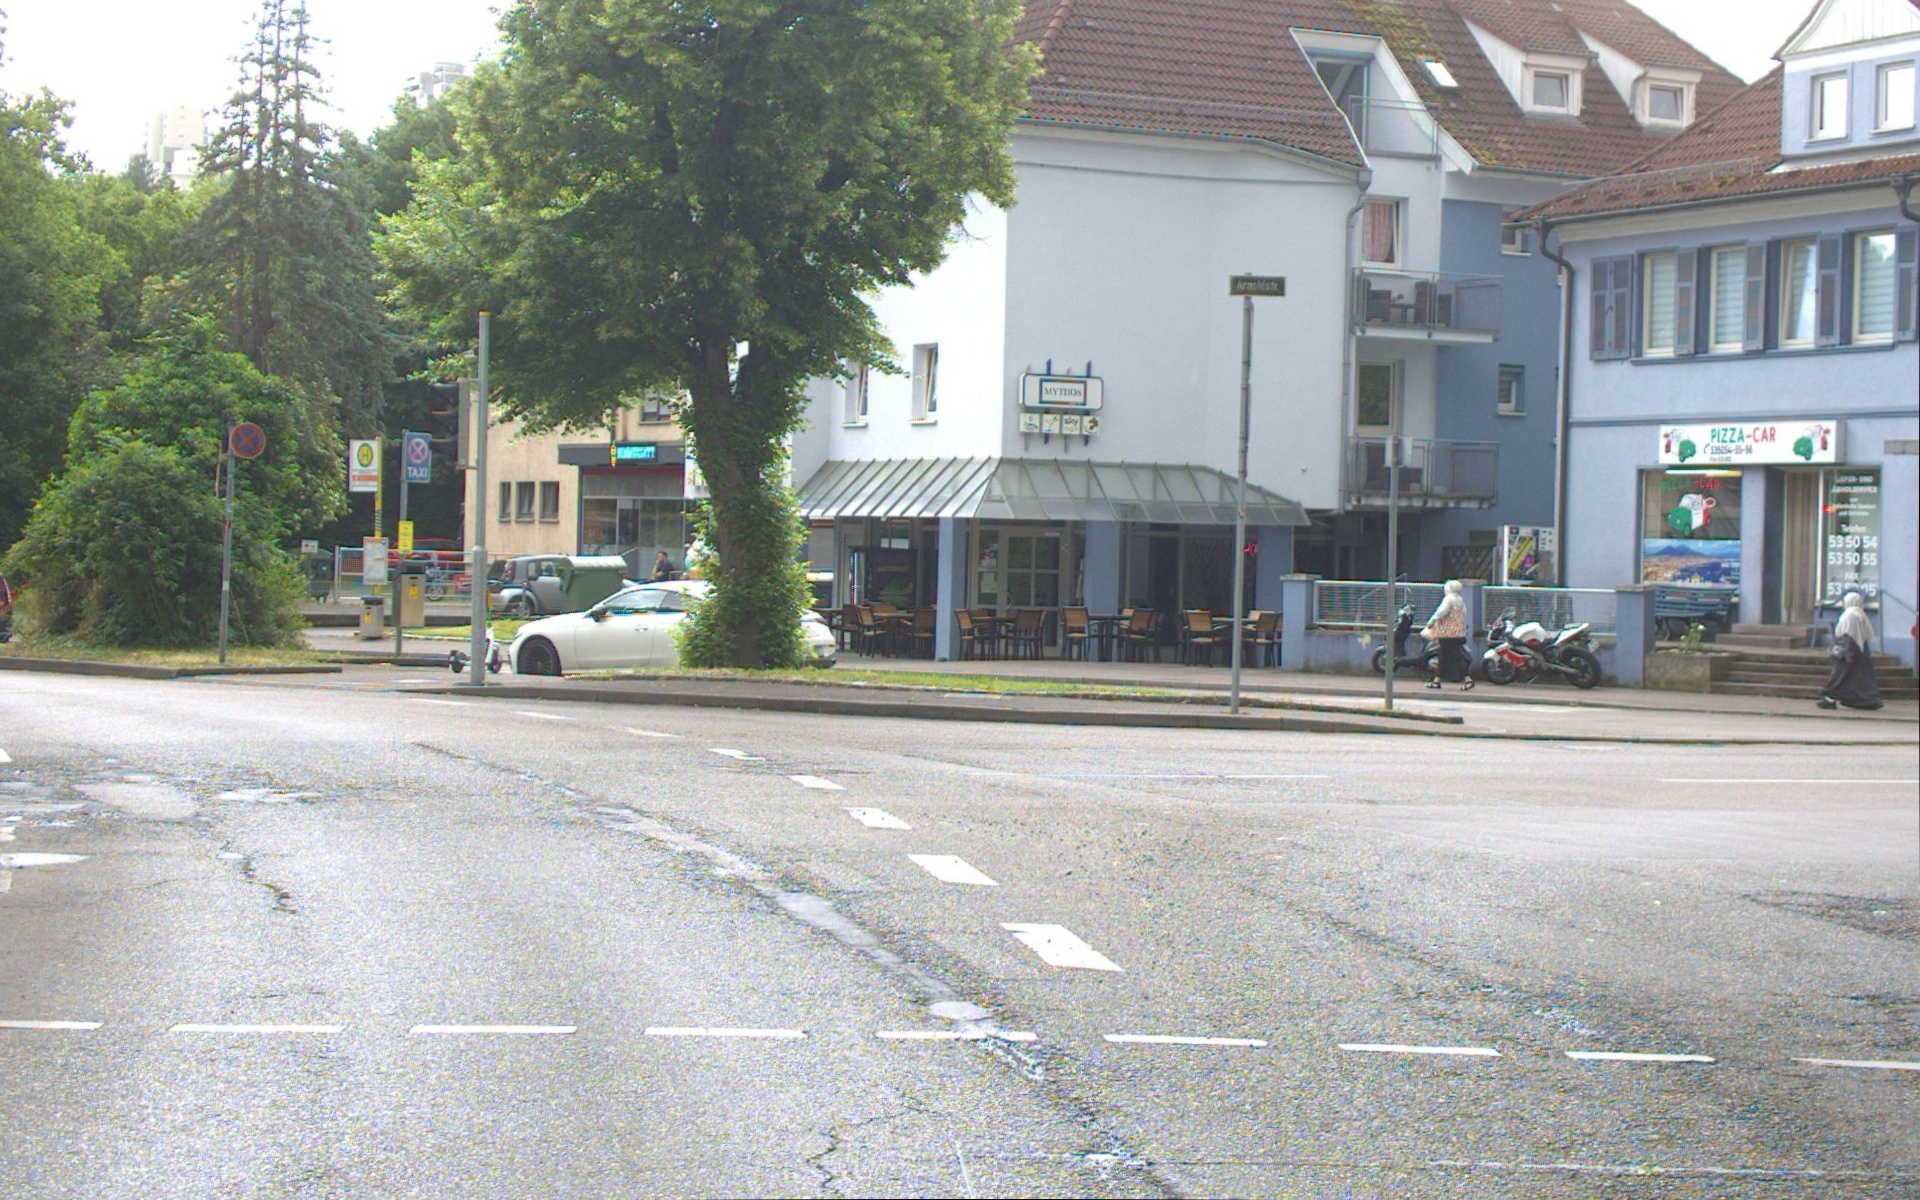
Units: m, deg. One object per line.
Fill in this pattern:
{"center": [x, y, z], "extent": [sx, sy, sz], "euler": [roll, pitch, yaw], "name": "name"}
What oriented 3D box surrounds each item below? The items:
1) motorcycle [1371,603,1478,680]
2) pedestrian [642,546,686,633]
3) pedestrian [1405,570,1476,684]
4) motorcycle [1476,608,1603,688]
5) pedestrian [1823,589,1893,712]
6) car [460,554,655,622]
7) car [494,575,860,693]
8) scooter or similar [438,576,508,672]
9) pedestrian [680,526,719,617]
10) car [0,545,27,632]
{"center": [6.776, 0.596, 50.127], "extent": [1.458, 1.085, 0.523], "euler": [1, 1, 35], "name": "motorcycle"}
{"center": [-6.948, -0.246, 80.691], "extent": [0.837, 2.007, 1.056], "euler": [1, 1, -14], "name": "pedestrian"}
{"center": [6.698, 0.372, 47.906], "extent": [0.732, 1.554, 0.767], "euler": [1, 0, 31], "name": "pedestrian"}
{"center": [8.151, 0.667, 48.358], "extent": [1.628, 1.085, 0.626], "euler": [1, 1, 32], "name": "motorcycle"}
{"center": [11.572, 0.643, 44.306], "extent": [0.695, 1.554, 0.665], "euler": [1, 0, 31], "name": "pedestrian"}
{"center": [-8.854, -0.261, 75.624], "extent": [3.936, 1.437, 1.753], "euler": [1, 1, -20], "name": "car"}
{"center": [-3.803, 0.425, 45.754], "extent": [4.709, 1.405, 1.898], "euler": [2, 1, 35], "name": "car"}
{"center": [-6.028, 0.287, 42.610], "extent": [0.442, 1.171, 1.437], "euler": [1, 1, 9], "name": "scooter or similar"}
{"center": [-4.483, -0.496, 59.186], "extent": [0.543, 1.554, 0.467], "euler": [0, 0, 13], "name": "pedestrian"}
{"center": [-16.418, -0.210, 53.515], "extent": [3.322, 1.347, 1.778], "euler": [1, 1, 27], "name": "car"}
